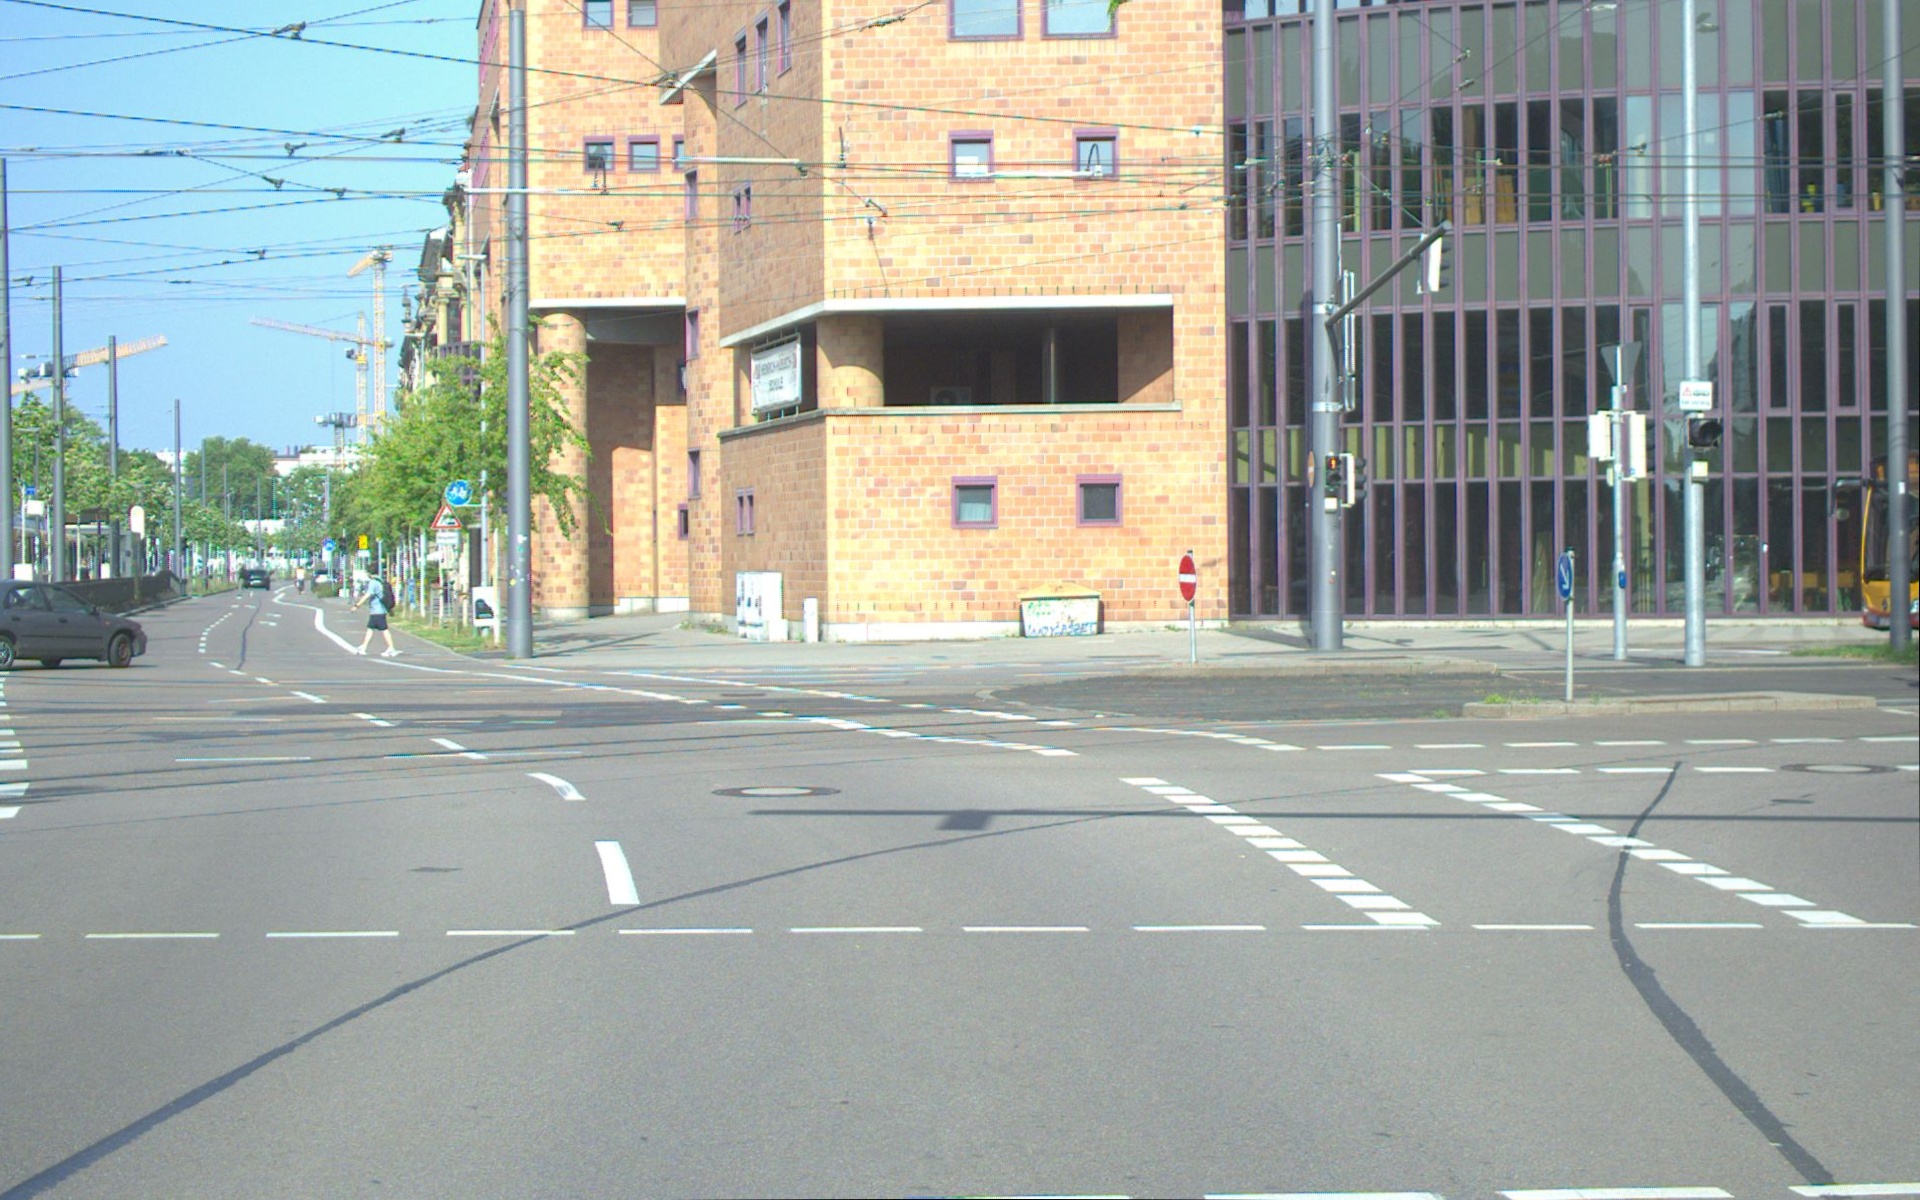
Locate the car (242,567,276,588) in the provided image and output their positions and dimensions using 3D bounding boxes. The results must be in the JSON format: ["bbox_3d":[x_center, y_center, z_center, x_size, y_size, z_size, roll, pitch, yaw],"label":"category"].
[{"bbox_3d":[-51.743,-1.640,253.556,2.073,1.537,4.415,0,0,-17],"label":"car"}]

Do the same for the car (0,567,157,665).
[{"bbox_3d":[-14.768,0.259,53.590,1.997,1.481,4.213,-1,-1,31],"label":"car"}]

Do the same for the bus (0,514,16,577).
[{"bbox_3d":[-31.822,-1.786,111.883,1.993,2.007,4.001,0,1,-13],"label":"bus"}]

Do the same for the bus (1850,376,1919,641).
[{"bbox_3d":[22.412,-1.376,51.840,17.605,3.798,2.865,0,-1,-8],"label":"bus"}]

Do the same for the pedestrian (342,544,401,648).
[{"bbox_3d":[-11.394,-0.080,66.541,0.841,2.007,0.810,0,1,16],"label":"pedestrian"}]
